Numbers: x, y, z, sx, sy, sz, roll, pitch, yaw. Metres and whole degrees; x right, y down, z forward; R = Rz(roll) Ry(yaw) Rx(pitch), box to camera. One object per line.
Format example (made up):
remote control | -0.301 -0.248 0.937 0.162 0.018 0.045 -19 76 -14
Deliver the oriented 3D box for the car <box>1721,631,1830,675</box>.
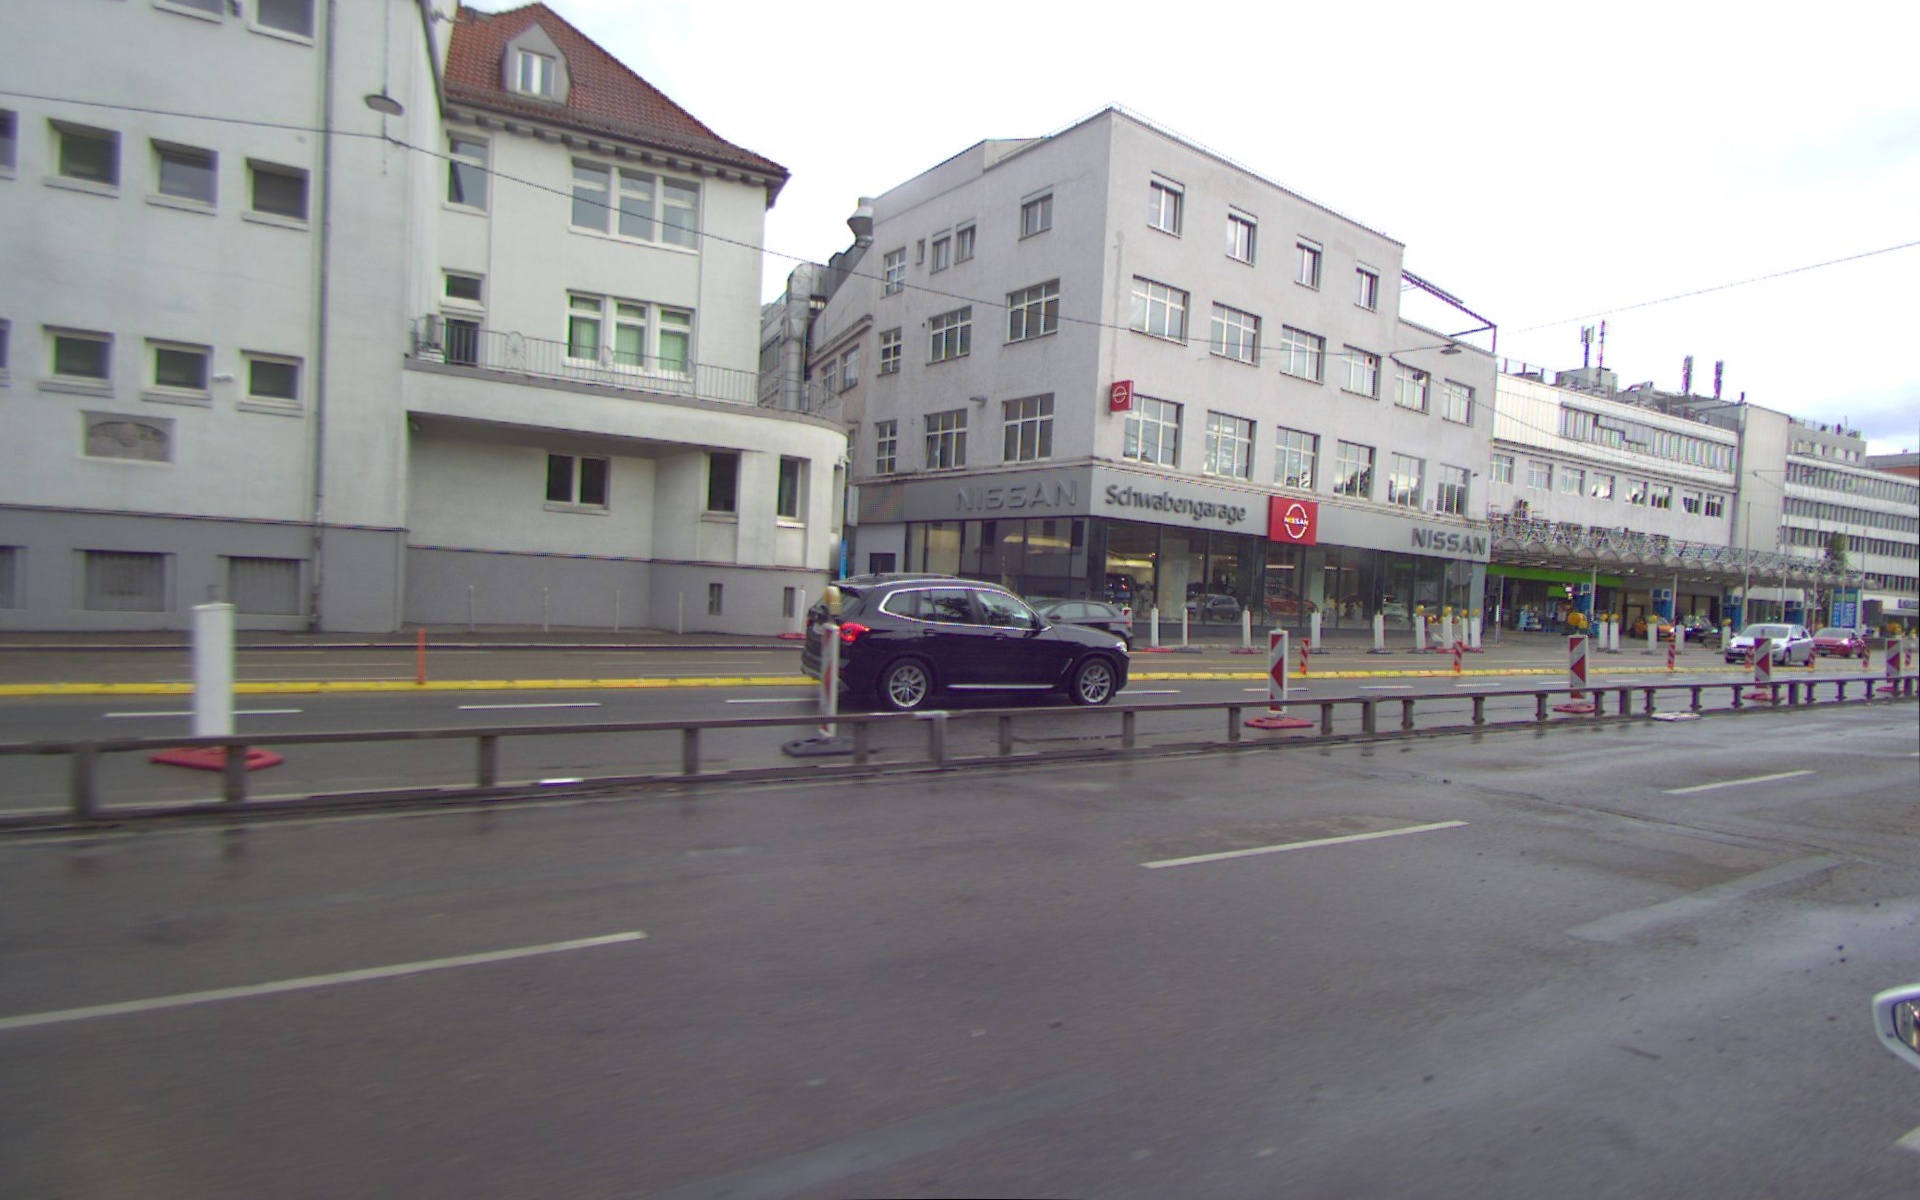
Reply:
car | 29.083 1.880 35.795 4.409 1.400 1.769 2 0 -33

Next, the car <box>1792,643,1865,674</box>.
car | 43.619 2.909 50.435 3.958 1.400 1.769 2 0 -33

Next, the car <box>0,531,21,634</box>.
car | -16.422 -0.332 13.998 4.502 1.564 1.826 2 1 -29

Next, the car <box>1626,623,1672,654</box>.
car | 44.712 2.465 65.241 1.772 1.677 3.996 5 2 26

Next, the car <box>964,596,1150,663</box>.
car | 2.380 0.727 24.312 4.199 1.424 1.754 3 0 -29
